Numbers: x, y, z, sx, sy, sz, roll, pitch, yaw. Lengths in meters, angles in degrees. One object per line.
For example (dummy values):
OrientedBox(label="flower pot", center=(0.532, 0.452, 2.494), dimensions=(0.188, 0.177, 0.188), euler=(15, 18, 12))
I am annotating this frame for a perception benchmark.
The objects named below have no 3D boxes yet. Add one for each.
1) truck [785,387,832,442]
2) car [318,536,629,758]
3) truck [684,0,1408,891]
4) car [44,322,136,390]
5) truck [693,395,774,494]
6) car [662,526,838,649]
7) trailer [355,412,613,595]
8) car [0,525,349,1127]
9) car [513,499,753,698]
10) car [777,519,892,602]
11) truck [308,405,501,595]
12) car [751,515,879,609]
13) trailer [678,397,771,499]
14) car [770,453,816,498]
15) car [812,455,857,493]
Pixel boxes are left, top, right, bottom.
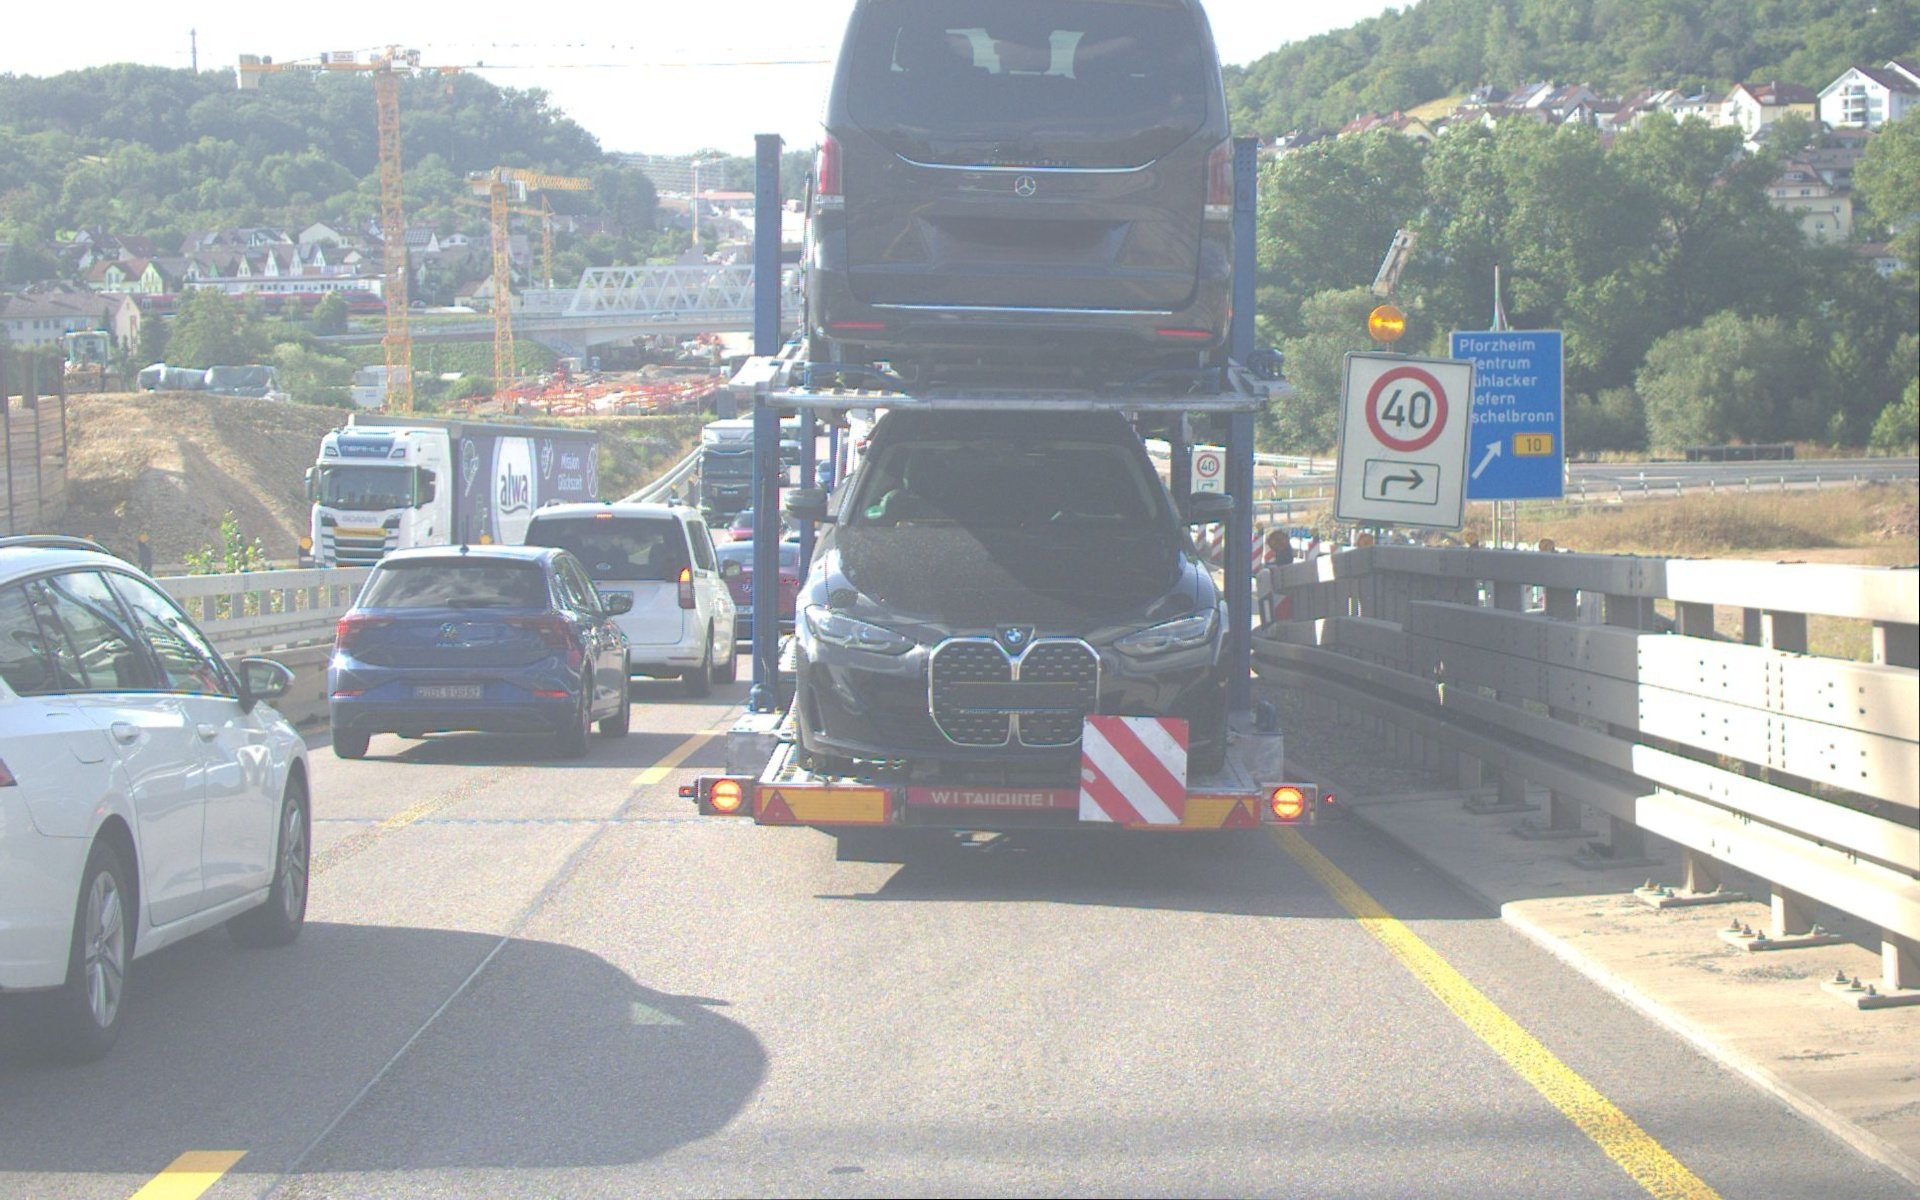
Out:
OrientedBox(label="truck", center=(-10.138, -12.416, 230.634), dimensions=(2.700, 3.300, 7.537), euler=(1, 0, 0))
OrientedBox(label="car", center=(-3.343, 0.270, 24.254), dimensions=(1.722, 1.417, 4.000), euler=(-1, 1, -2))
OrientedBox(label="truck", center=(0.263, -0.942, 22.970), dimensions=(2.753, 3.941, 18.890), euler=(2, 0, -1))
OrientedBox(label="car", center=(-33.047, -9.254, 130.743), dimensions=(1.993, 2.133, 5.322), euler=(-5, 0, 0))
OrientedBox(label="truck", center=(-9.238, -6.275, 139.762), dimensions=(2.776, 3.775, 6.020), euler=(1, 0, -9))
OrientedBox(label="car", center=(-2.769, -0.175, 46.172), dimensions=(1.993, 1.551, 4.401), euler=(1, 0, 1))
OrientedBox(label="trailer", center=(-11.560, -2.256, 85.329), dimensions=(2.688, 4.141, 13.808), euler=(1, 0, 8))
OrientedBox(label="car", center=(-3.228, 0.548, 10.748), dimensions=(1.770, 1.486, 4.516), euler=(-1, 1, 1))
OrientedBox(label="car", center=(-3.077, -0.030, 33.093), dimensions=(1.823, 1.786, 4.000), euler=(1, 0, 1))
OrientedBox(label="car", center=(-2.420, -0.763, 67.210), dimensions=(1.993, 1.547, 4.000), euler=(1, 0, 2))
OrientedBox(label="truck", center=(-12.543, -2.205, 78.114), dimensions=(2.712, 4.123, 5.969), euler=(1, 0, 7))
OrientedBox(label="car", center=(-2.466, -0.648, 59.210), dimensions=(1.993, 1.547, 4.000), euler=(1, 0, 0))
OrientedBox(label="trailer", center=(-10.113, -6.349, 146.071), dimensions=(2.820, 3.828, 13.807), euler=(1, 0, -8))
OrientedBox(label="car", center=(-9.584, -7.126, 197.520), dimensions=(2.258, 2.394, 5.867), euler=(1, 0, 1))
OrientedBox(label="car", center=(-6.221, -6.208, 170.027), dimensions=(1.993, 1.720, 4.123), euler=(1, 0, -5))
